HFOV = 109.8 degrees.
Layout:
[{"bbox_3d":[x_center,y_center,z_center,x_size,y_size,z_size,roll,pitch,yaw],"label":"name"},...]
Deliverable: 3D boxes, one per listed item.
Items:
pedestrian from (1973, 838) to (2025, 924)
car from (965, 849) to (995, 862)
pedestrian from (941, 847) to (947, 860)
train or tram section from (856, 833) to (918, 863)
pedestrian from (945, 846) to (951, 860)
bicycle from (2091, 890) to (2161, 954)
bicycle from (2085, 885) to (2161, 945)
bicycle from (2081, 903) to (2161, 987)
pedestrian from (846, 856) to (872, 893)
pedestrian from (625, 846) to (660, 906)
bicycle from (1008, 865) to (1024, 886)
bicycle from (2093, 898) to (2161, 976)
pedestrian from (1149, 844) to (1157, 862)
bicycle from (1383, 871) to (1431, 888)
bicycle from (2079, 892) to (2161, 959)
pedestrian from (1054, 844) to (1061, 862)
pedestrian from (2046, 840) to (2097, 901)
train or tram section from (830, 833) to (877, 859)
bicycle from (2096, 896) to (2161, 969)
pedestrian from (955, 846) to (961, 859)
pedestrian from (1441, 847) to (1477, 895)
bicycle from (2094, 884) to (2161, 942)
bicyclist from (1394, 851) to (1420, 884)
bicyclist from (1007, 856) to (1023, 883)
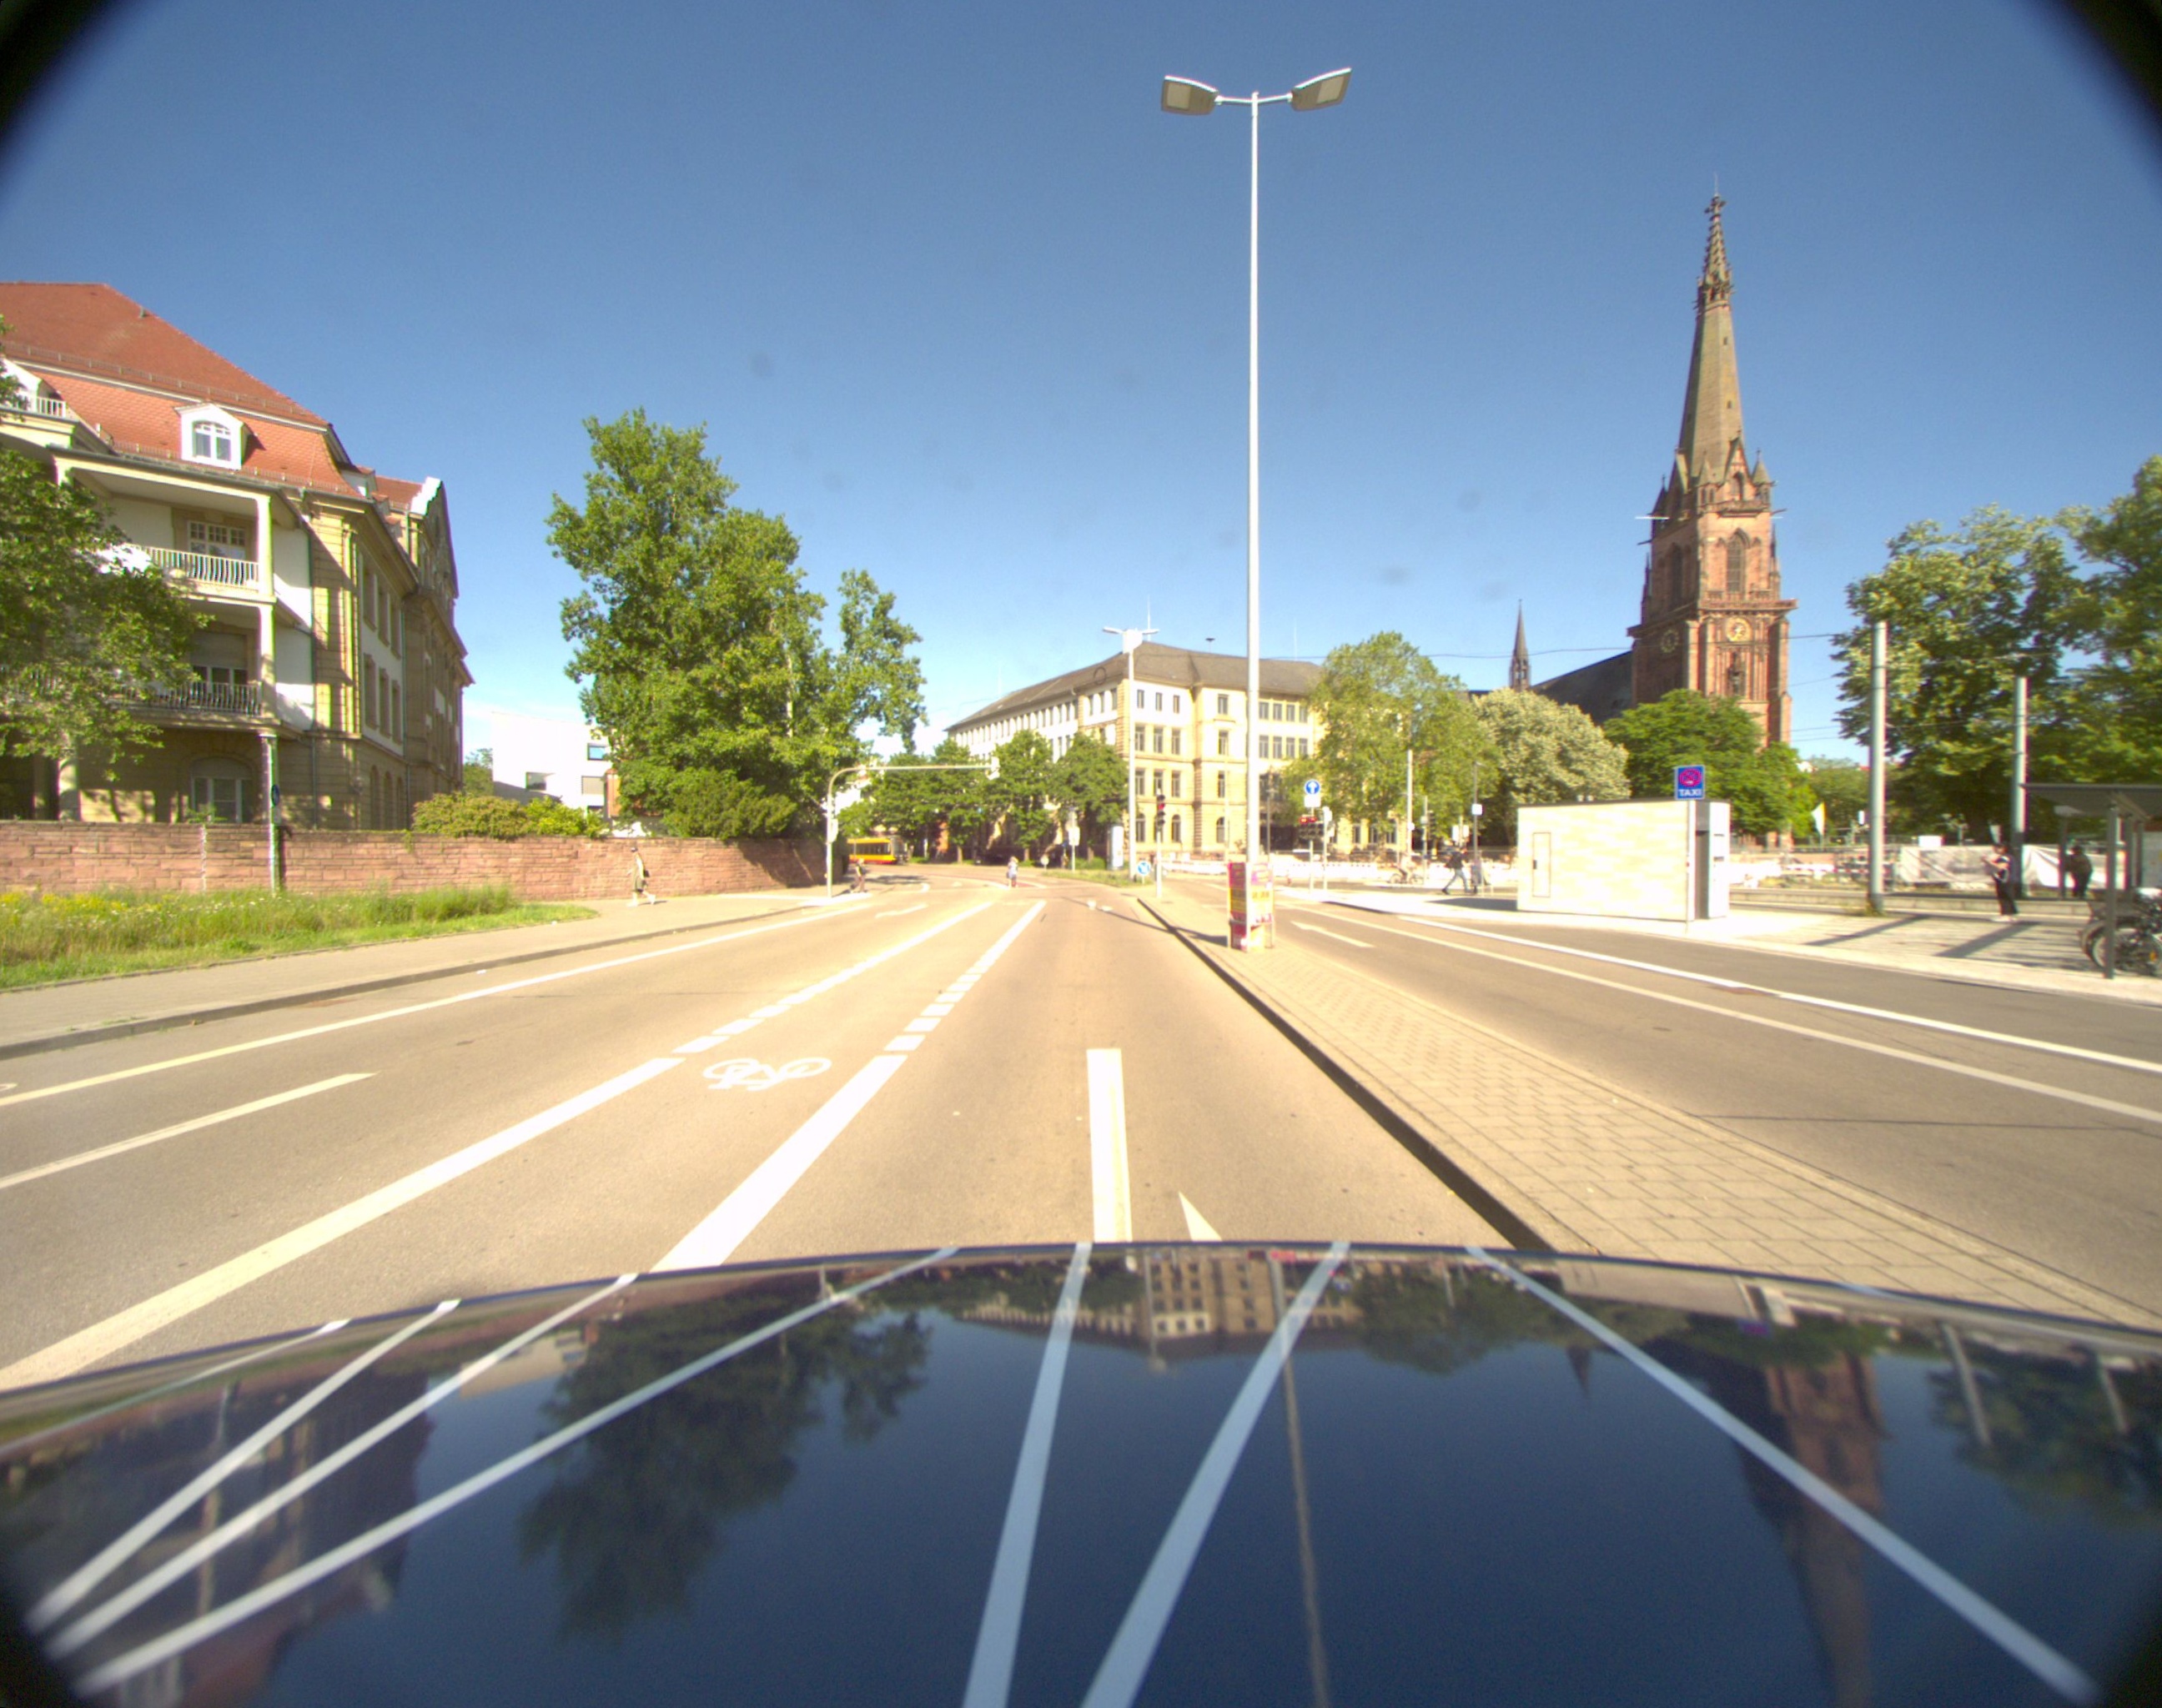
[{"bbox_3d":[20.400,0.586,16.904,0.622,1.848,0.700,-1,1,-43],"label":"pedestrian"},{"bbox_3d":[-12.066,0.146,90.535,1.839,1.587,3.989,-1,1,-37],"label":"car"},{"bbox_3d":[-19.452,-0.110,107.772,0.578,1.893,0.781,-1,1,-36],"label":"pedestrian"},{"bbox_3d":[-24.535,-0.763,95.328,2.947,3.500,13.802,-1,1,-35],"label":"train or tram section"},{"bbox_3d":[-18.960,-0.136,108.378,0.578,1.893,0.849,-1,1,-36],"label":"pedestrian"},{"bbox_3d":[17.968,1.140,12.452,0.407,0.993,1.679,-3,2,-33],"label":"bicycle"},{"bbox_3d":[19.032,1.086,13.330,0.407,0.993,1.679,-3,2,-33],"label":"bicycle"},{"bbox_3d":[13.989,1.191,9.543,0.407,0.993,1.678,-3,3,-33],"label":"bicycle"},{"bbox_3d":[-9.894,0.910,33.904,0.931,1.657,0.631,0,1,6],"label":"pedestrian"},{"bbox_3d":[-13.816,0.683,23.940,0.628,1.847,0.789,1,1,42],"label":"pedestrian"},{"bbox_3d":[-3.420,1.124,39.702,0.741,0.989,2.305,-2,1,-6],"label":"bicycle"},{"bbox_3d":[15.034,1.168,10.201,0.407,0.993,1.678,-3,3,-33],"label":"bicycle"},{"bbox_3d":[6.559,-0.099,69.224,0.540,1.710,0.545,-1,1,-37],"label":"pedestrian"},{"bbox_3d":[15.668,1.215,36.563,2.052,0.777,0.740,0,1,-8],"label":"bicycle"},{"bbox_3d":[17.188,1.144,12.005,0.407,0.993,1.679,-3,2,-33],"label":"bicycle"},{"bbox_3d":[-2.646,-0.139,84.914,0.557,2.002,0.645,-1,1,-37],"label":"pedestrian"},{"bbox_3d":[30.679,0.500,23.546,0.619,1.849,0.703,0,1,11],"label":"pedestrian"},{"bbox_3d":[-31.792,-1.071,105.816,2.947,3.500,11.646,-1,1,-34],"label":"train or tram section"},{"bbox_3d":[16.132,1.185,10.992,0.407,0.993,1.678,-3,3,-33],"label":"bicycle"},{"bbox_3d":[-17.432,-0.188,107.775,0.578,1.893,0.849,-1,1,-36],"label":"pedestrian"},{"bbox_3d":[13.794,0.605,27.752,1.001,1.733,0.631,0,1,8],"label":"pedestrian"},{"bbox_3d":[19.517,1.067,13.572,0.407,0.993,1.679,-3,2,-33],"label":"bicycle"},{"bbox_3d":[15.662,0.632,36.546,0.886,1.562,0.740,0,1,-9],"label":"bicyclist"},{"bbox_3d":[-3.438,0.780,39.682,0.741,1.363,0.626,-2,1,-6],"label":"bicyclist"}]
